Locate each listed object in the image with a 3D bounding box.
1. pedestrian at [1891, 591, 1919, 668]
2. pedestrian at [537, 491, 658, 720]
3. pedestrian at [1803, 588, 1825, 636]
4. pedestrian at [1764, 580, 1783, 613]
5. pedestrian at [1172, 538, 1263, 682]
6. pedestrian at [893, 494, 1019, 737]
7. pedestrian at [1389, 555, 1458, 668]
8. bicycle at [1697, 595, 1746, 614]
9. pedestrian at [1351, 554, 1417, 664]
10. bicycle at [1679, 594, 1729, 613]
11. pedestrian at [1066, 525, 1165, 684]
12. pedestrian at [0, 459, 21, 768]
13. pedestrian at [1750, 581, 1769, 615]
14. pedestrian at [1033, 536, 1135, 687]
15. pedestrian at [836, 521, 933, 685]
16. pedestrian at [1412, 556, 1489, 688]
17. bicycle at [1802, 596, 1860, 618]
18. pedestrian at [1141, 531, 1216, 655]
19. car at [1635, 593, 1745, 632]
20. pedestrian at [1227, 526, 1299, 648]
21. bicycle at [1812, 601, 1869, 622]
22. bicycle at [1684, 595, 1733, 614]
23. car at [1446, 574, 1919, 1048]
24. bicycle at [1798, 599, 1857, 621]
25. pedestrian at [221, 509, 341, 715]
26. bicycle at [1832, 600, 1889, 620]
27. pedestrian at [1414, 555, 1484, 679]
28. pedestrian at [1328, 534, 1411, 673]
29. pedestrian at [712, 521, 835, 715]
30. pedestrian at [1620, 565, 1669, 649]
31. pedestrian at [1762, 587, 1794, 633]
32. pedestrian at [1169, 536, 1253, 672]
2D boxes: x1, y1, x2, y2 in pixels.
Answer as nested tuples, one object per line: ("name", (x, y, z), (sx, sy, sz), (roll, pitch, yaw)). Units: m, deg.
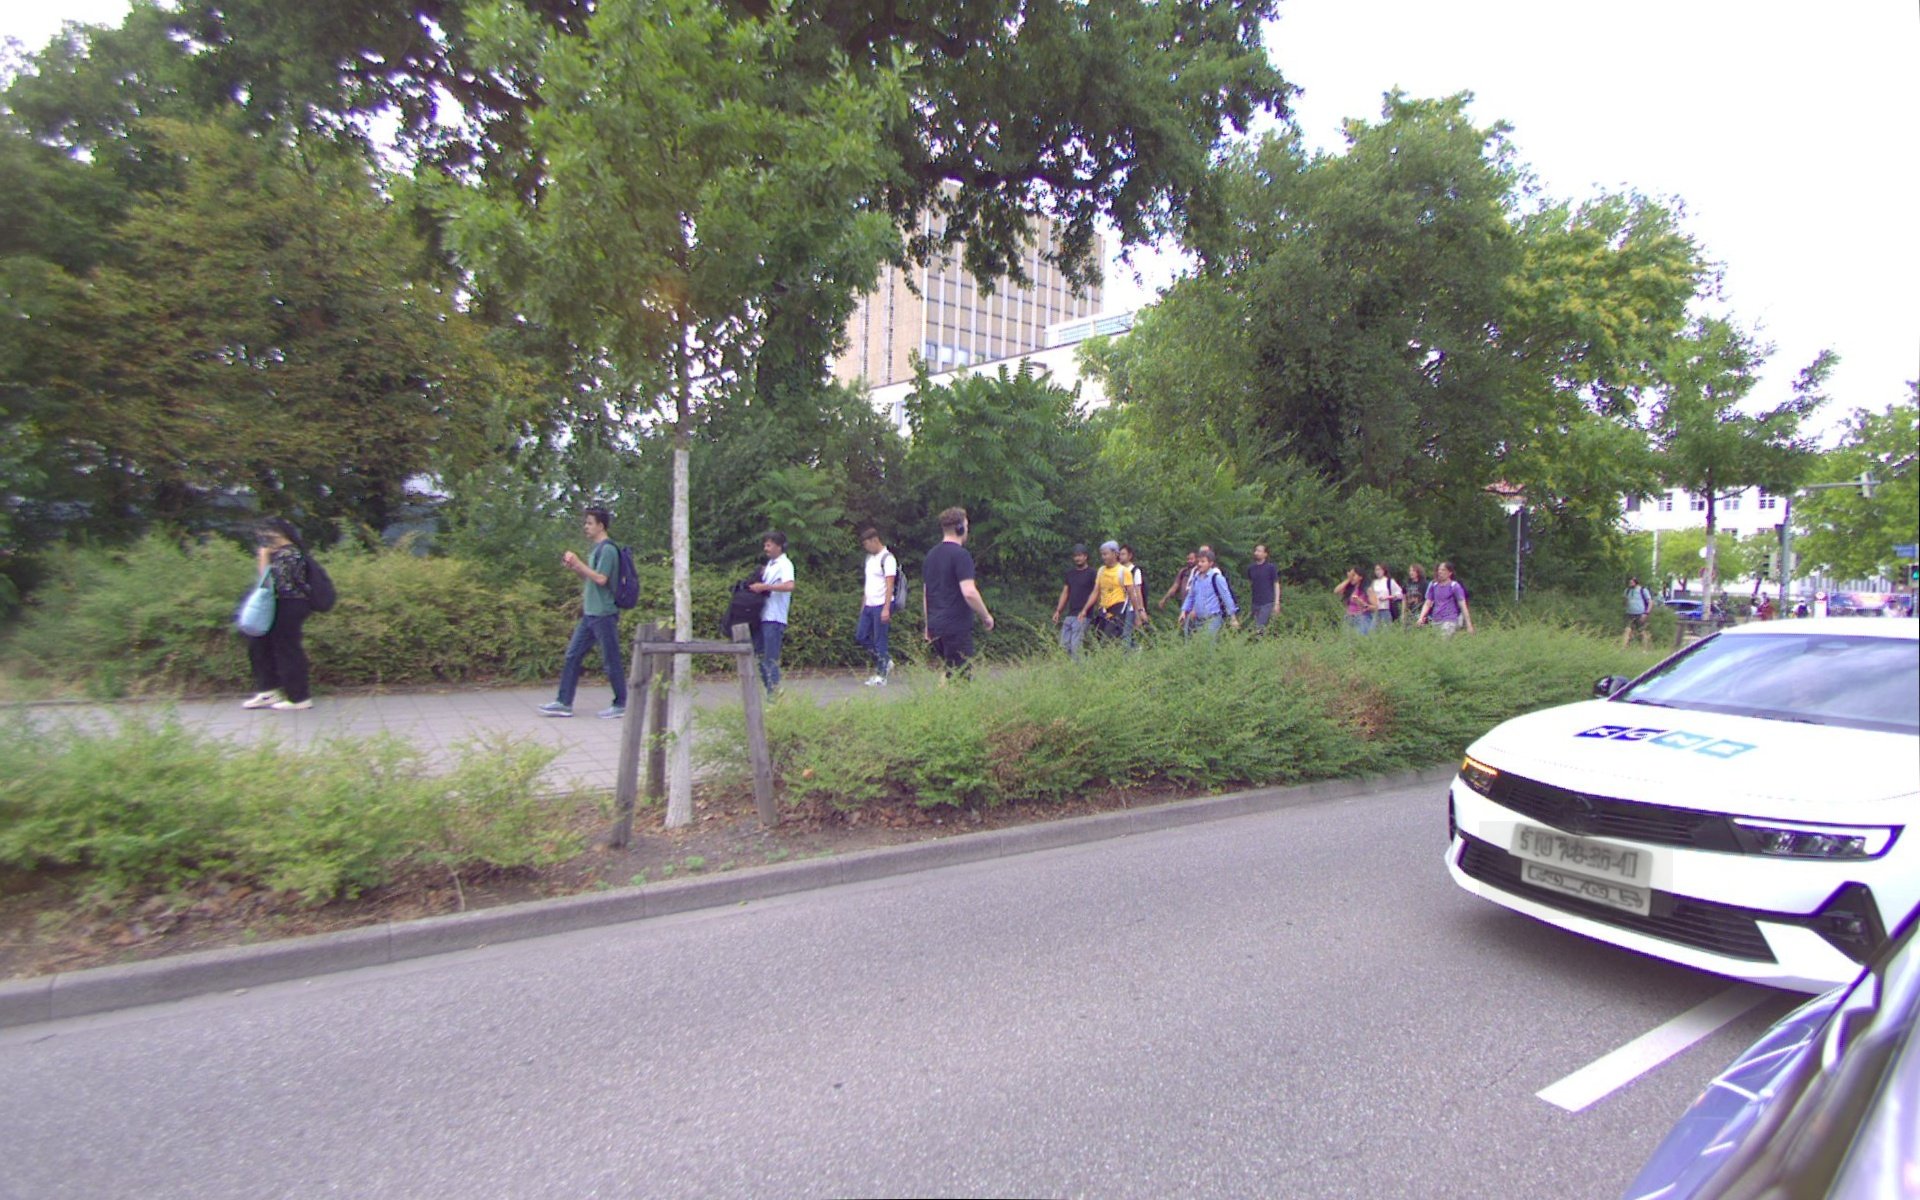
("pedestrian", (21.582, 0.655, 22.937), (0.625, 1.708, 0.547), (1, 1, -37))
("pedestrian", (-3.089, 0.036, 8.615), (0.796, 1.844, 0.658), (1, 1, -34))
("pedestrian", (34.186, 0.462, 40.505), (0.644, 1.875, 0.817), (1, 0, 41))
("pedestrian", (49.331, -0.200, 61.396), (0.676, 1.988, 0.600), (1, 0, 13))
("pedestrian", (3.119, 0.104, 12.268), (0.797, 1.668, 0.659), (1, 2, -36))
("pedestrian", (-0.059, 0.109, 8.276), (0.869, 1.853, 0.938), (2, 1, -7))
("pedestrian", (7.453, 0.171, 16.268), (0.765, 1.767, 0.659), (1, 2, -36))
("bicycle", (50.546, 0.265, 67.207), (0.704, 1.156, 2.474), (1, 2, -36))
("pedestrian", (7.054, 0.134, 16.832), (0.765, 1.767, 0.659), (1, 2, -36))
("bicycle", (47.977, 0.228, 65.293), (0.704, 1.156, 2.474), (1, 2, -36))
("pedestrian", (1.748, 0.033, 11.392), (0.826, 1.710, 0.659), (1, 2, -36))
("pedestrian", (-6.187, 0.079, 5.892), (0.936, 1.844, 0.695), (1, 2, -34))
("pedestrian", (48.412, -0.123, 61.273), (0.676, 1.988, 0.600), (1, 0, 13))
("pedestrian", (1.452, 0.120, 11.844), (0.953, 1.687, 0.659), (1, 2, -36))
("pedestrian", (-0.860, 0.021, 11.452), (0.796, 1.766, 0.724), (1, 2, -34))
("pedestrian", (6.773, 0.286, 13.976), (0.765, 1.767, 0.626), (1, 2, -36))
("bicycle", (51.755, 0.407, 60.143), (0.704, 1.156, 2.474), (1, 2, -36))
("pedestrian", (3.127, -0.113, 14.512), (0.765, 1.720, 0.659), (1, 2, -36))
("car", (32.186, 0.513, 44.681), (1.644, 1.510, 3.581), (0, 2, -37))
("pedestrian", (4.544, -0.202, 15.189), (0.765, 1.767, 0.659), (1, 2, -36))
("bicycle", (53.024, 0.687, 60.966), (0.704, 1.156, 2.474), (1, 2, -36))
("bicycle", (48.632, 0.264, 65.780), (0.704, 1.156, 2.474), (1, 2, -36))
("car", (4.798, 0.674, 4.867), (4.682, 1.456, 1.749), (1, 1, -23))
("bicycle", (50.718, 0.570, 59.200), (0.704, 1.156, 2.474), (1, 2, -36))
("pedestrian", (-5.586, 0.083, 8.348), (0.770, 1.603, 0.638), (1, 2, -34))
("bicycle", (54.904, 0.595, 61.728), (0.704, 1.156, 2.474), (1, 2, -36))
("pedestrian", (7.210, 0.240, 14.917), (0.775, 1.767, 0.583), (1, 2, -36))
("pedestrian", (5.401, 0.031, 13.359), (0.765, 1.767, 0.659), (1, 2, -36))
("pedestrian", (-1.661, 0.141, 8.998), (0.796, 1.622, 0.778), (1, 2, -34))
("pedestrian", (15.270, 0.151, 22.581), (0.726, 1.818, 0.647), (3, 0, -37))
("pedestrian", (33.018, 0.398, 40.854), (0.874, 1.827, 0.770), (1, 0, -33))
("pedestrian", (3.438, 0.051, 13.857), (0.940, 1.789, 0.658), (1, 0, -36))
